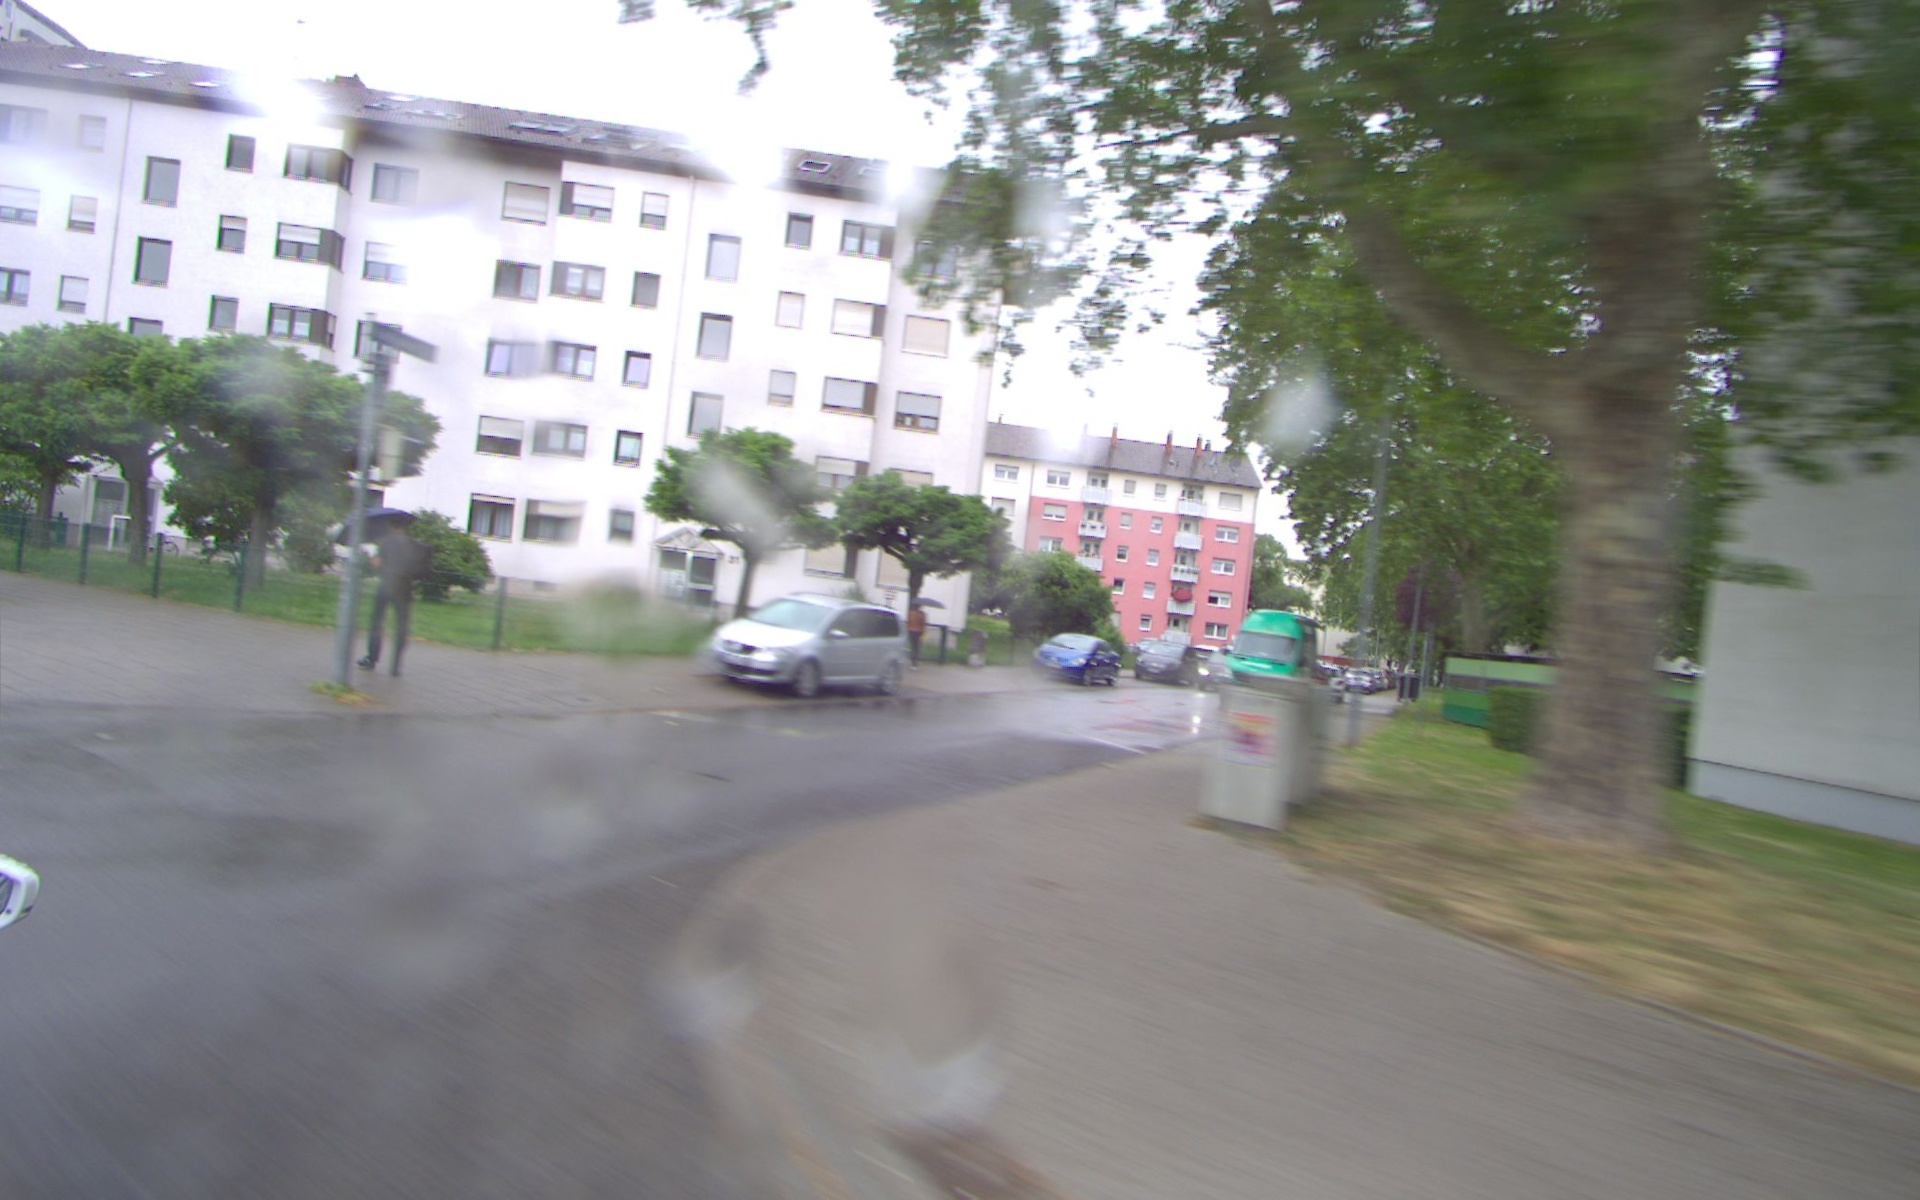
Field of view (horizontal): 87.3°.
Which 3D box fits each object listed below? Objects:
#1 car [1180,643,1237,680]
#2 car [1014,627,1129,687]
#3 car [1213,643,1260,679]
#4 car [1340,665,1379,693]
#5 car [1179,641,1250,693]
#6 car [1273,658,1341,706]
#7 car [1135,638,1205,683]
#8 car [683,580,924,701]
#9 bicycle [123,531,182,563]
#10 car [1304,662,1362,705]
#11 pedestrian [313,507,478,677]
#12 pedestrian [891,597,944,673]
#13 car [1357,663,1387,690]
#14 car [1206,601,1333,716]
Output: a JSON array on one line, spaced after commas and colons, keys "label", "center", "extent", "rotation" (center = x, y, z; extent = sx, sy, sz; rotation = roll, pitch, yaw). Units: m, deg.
[{"label": "car", "center": [11.739, 2.889, 47.364], "extent": [1.655, 1.524, 4.303], "rotation": [6, -1, 25]}, {"label": "car", "center": [3.490, 1.751, 30.707], "extent": [1.904, 1.524, 4.301], "rotation": [6, -1, 28]}, {"label": "car", "center": [15.143, 3.320, 54.952], "extent": [1.655, 1.676, 4.303], "rotation": [6, -1, 25]}, {"label": "car", "center": [24.051, 4.734, 60.430], "extent": [1.710, 1.409, 4.001], "rotation": [6, -1, 27]}, {"label": "car", "center": [9.819, 2.572, 38.608], "extent": [1.745, 1.670, 3.997], "rotation": [6, -1, 25]}, {"label": "car", "center": [13.133, 3.063, 37.953], "extent": [1.710, 1.524, 4.000], "rotation": [6, -1, 28]}, {"label": "car", "center": [8.493, 2.420, 40.390], "extent": [1.655, 1.524, 4.303], "rotation": [6, -1, 25]}, {"label": "car", "center": [-2.575, 0.740, 17.630], "extent": [1.839, 1.701, 4.301], "rotation": [6, -1, 28]}, {"label": "bicycle", "center": [-26.977, -1.758, 33.620], "extent": [1.542, 0.858, 0.491], "rotation": [6, 1, 1]}, {"label": "car", "center": [16.053, 3.548, 43.162], "extent": [1.710, 1.524, 4.000], "rotation": [6, -1, 28]}, {"label": "pedestrian", "center": [-6.781, -0.095, 12.086], "extent": [1.412, 1.836, 1.099], "rotation": [6, 0, 37]}, {"label": "pedestrian", "center": [-1.046, 0.879, 25.087], "extent": [0.708, 1.790, 1.181], "rotation": [6, 0, 24]}, {"label": "car", "center": [27.965, 5.168, 68.226], "extent": [1.709, 1.524, 4.003], "rotation": [6, -1, 24]}, {"label": "car", "center": [9.186, 1.727, 29.375], "extent": [2.149, 2.812, 6.131], "rotation": [6, -1, 28]}]
